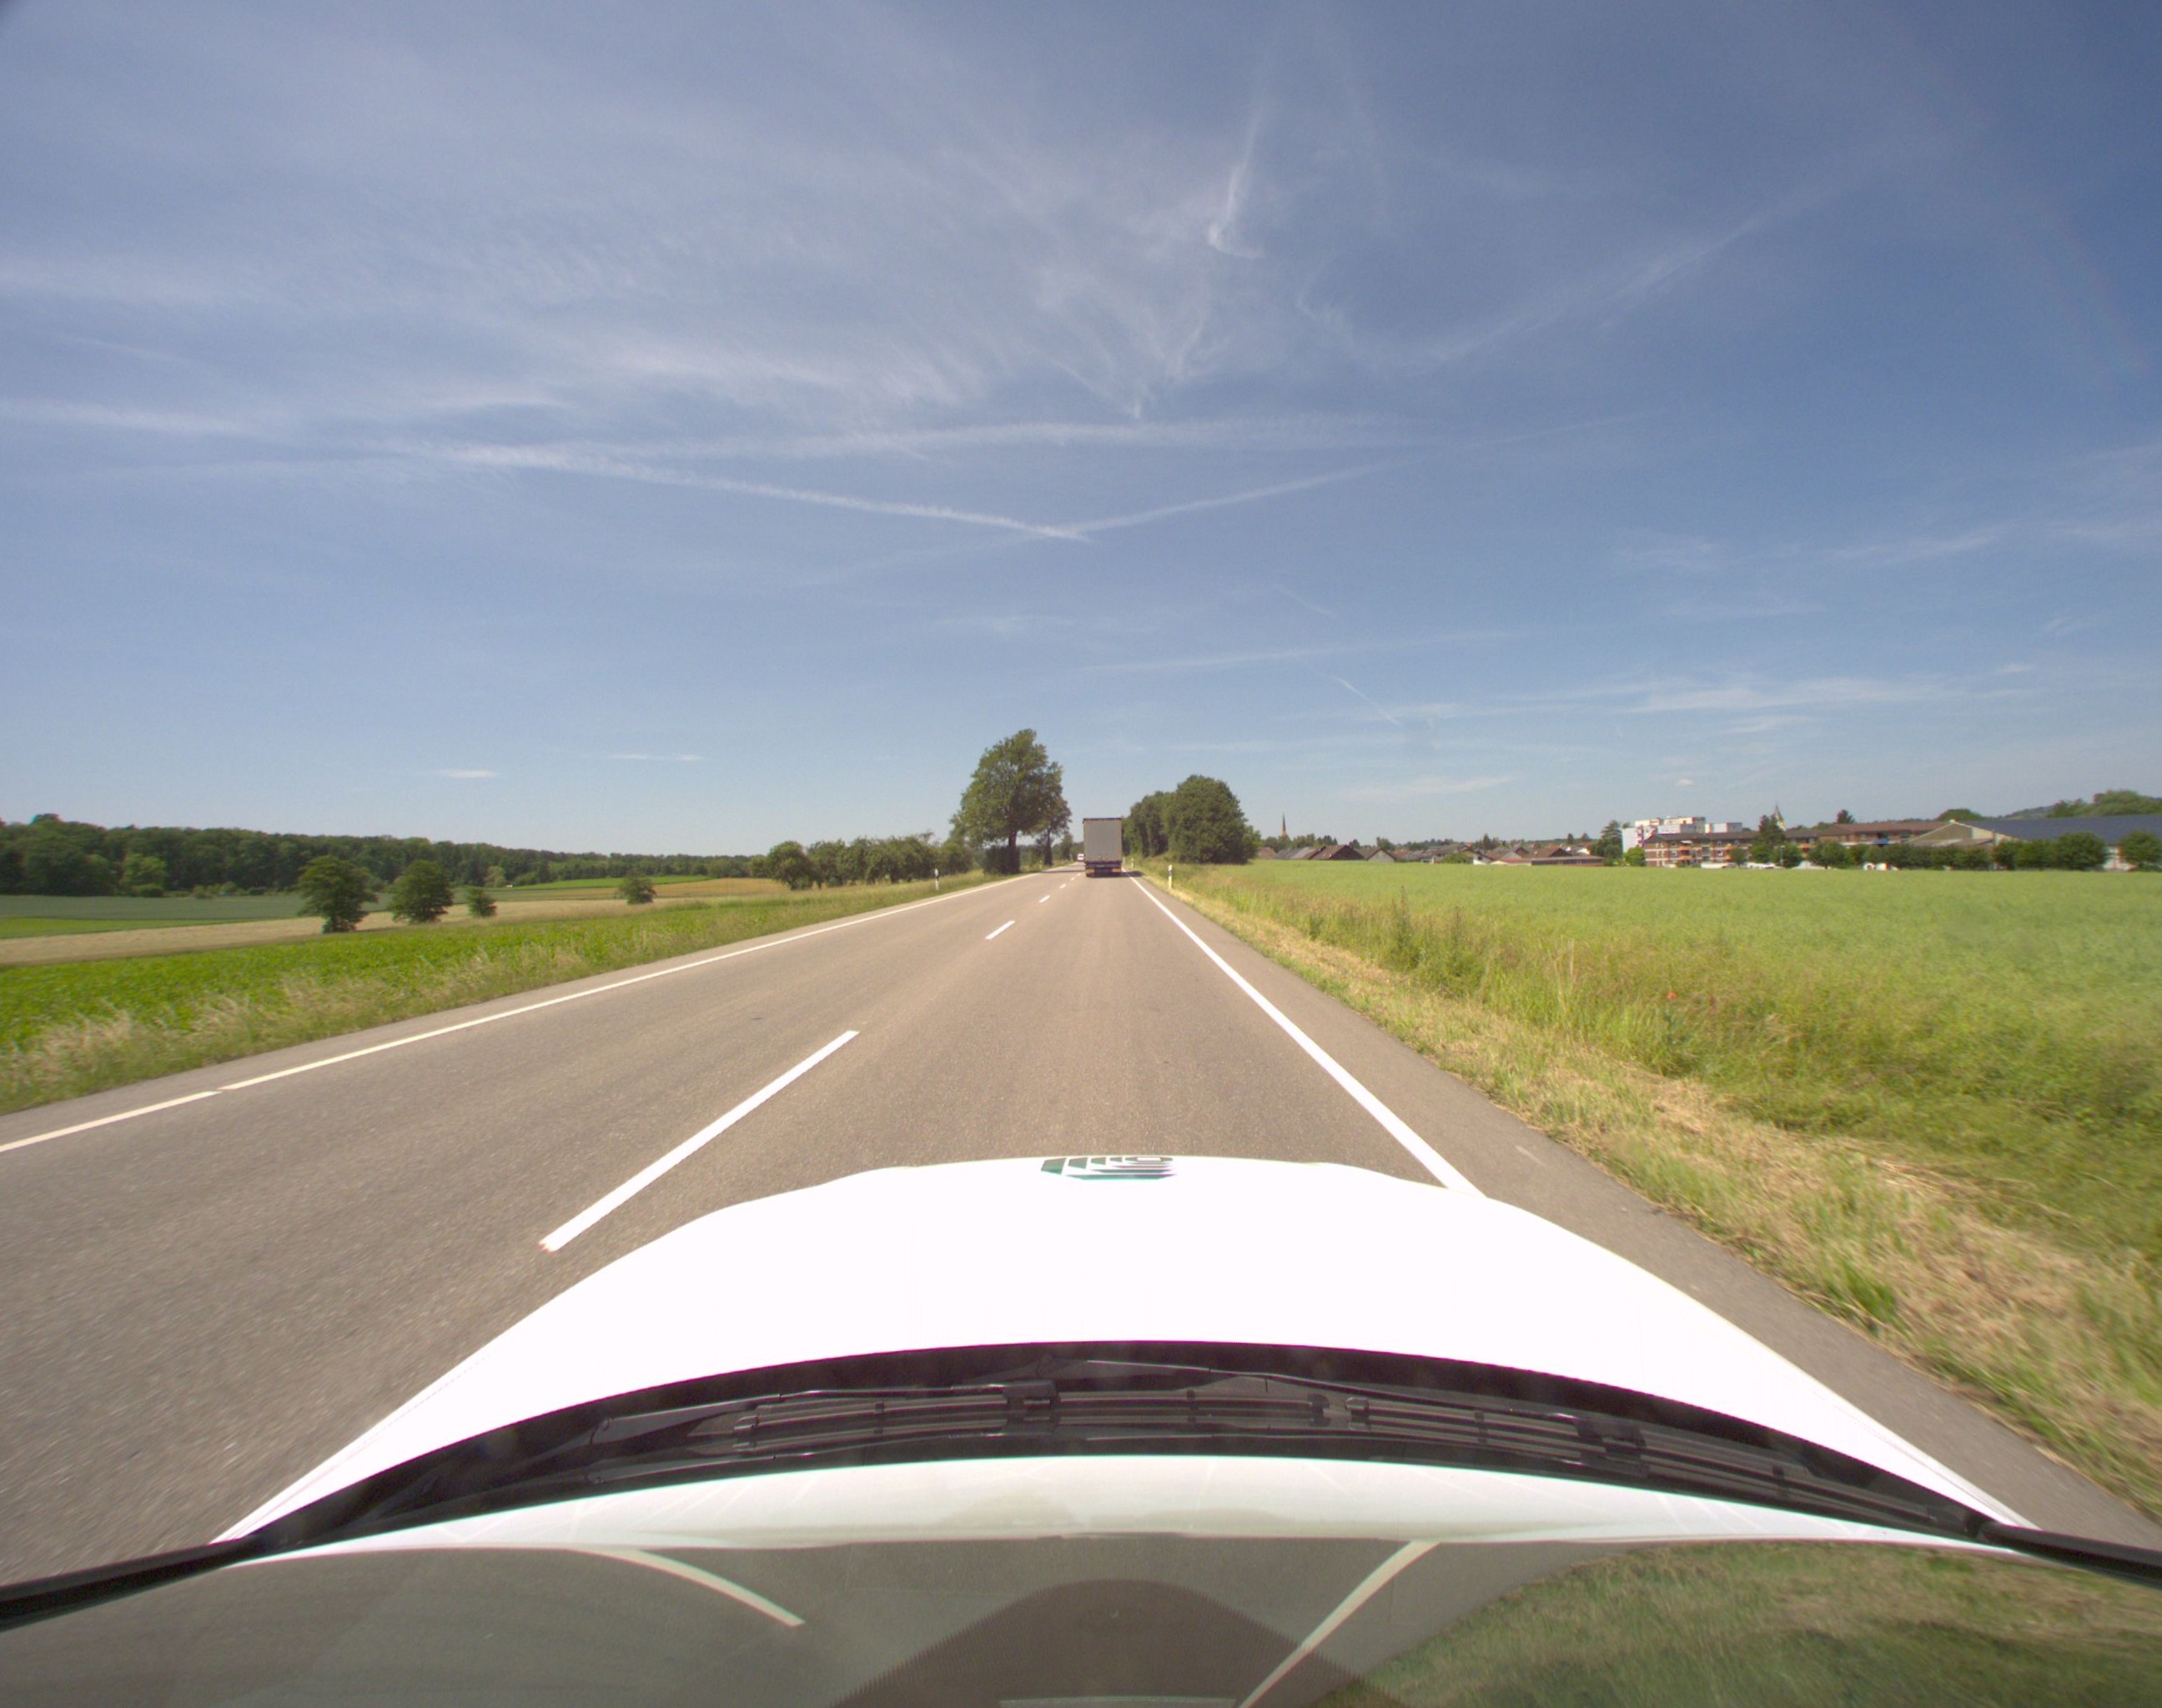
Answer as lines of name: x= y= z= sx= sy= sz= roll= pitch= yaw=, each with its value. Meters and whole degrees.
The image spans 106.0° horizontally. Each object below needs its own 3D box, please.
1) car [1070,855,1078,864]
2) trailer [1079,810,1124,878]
car: x=-1.636 y=1.245 z=188.068 sx=1.867 sy=2.013 sz=4.074 roll=0 pitch=0 yaw=0
trailer: x=1.521 y=-0.656 z=60.455 sx=2.856 sy=4.400 sz=13.496 roll=-1 pitch=0 yaw=1
